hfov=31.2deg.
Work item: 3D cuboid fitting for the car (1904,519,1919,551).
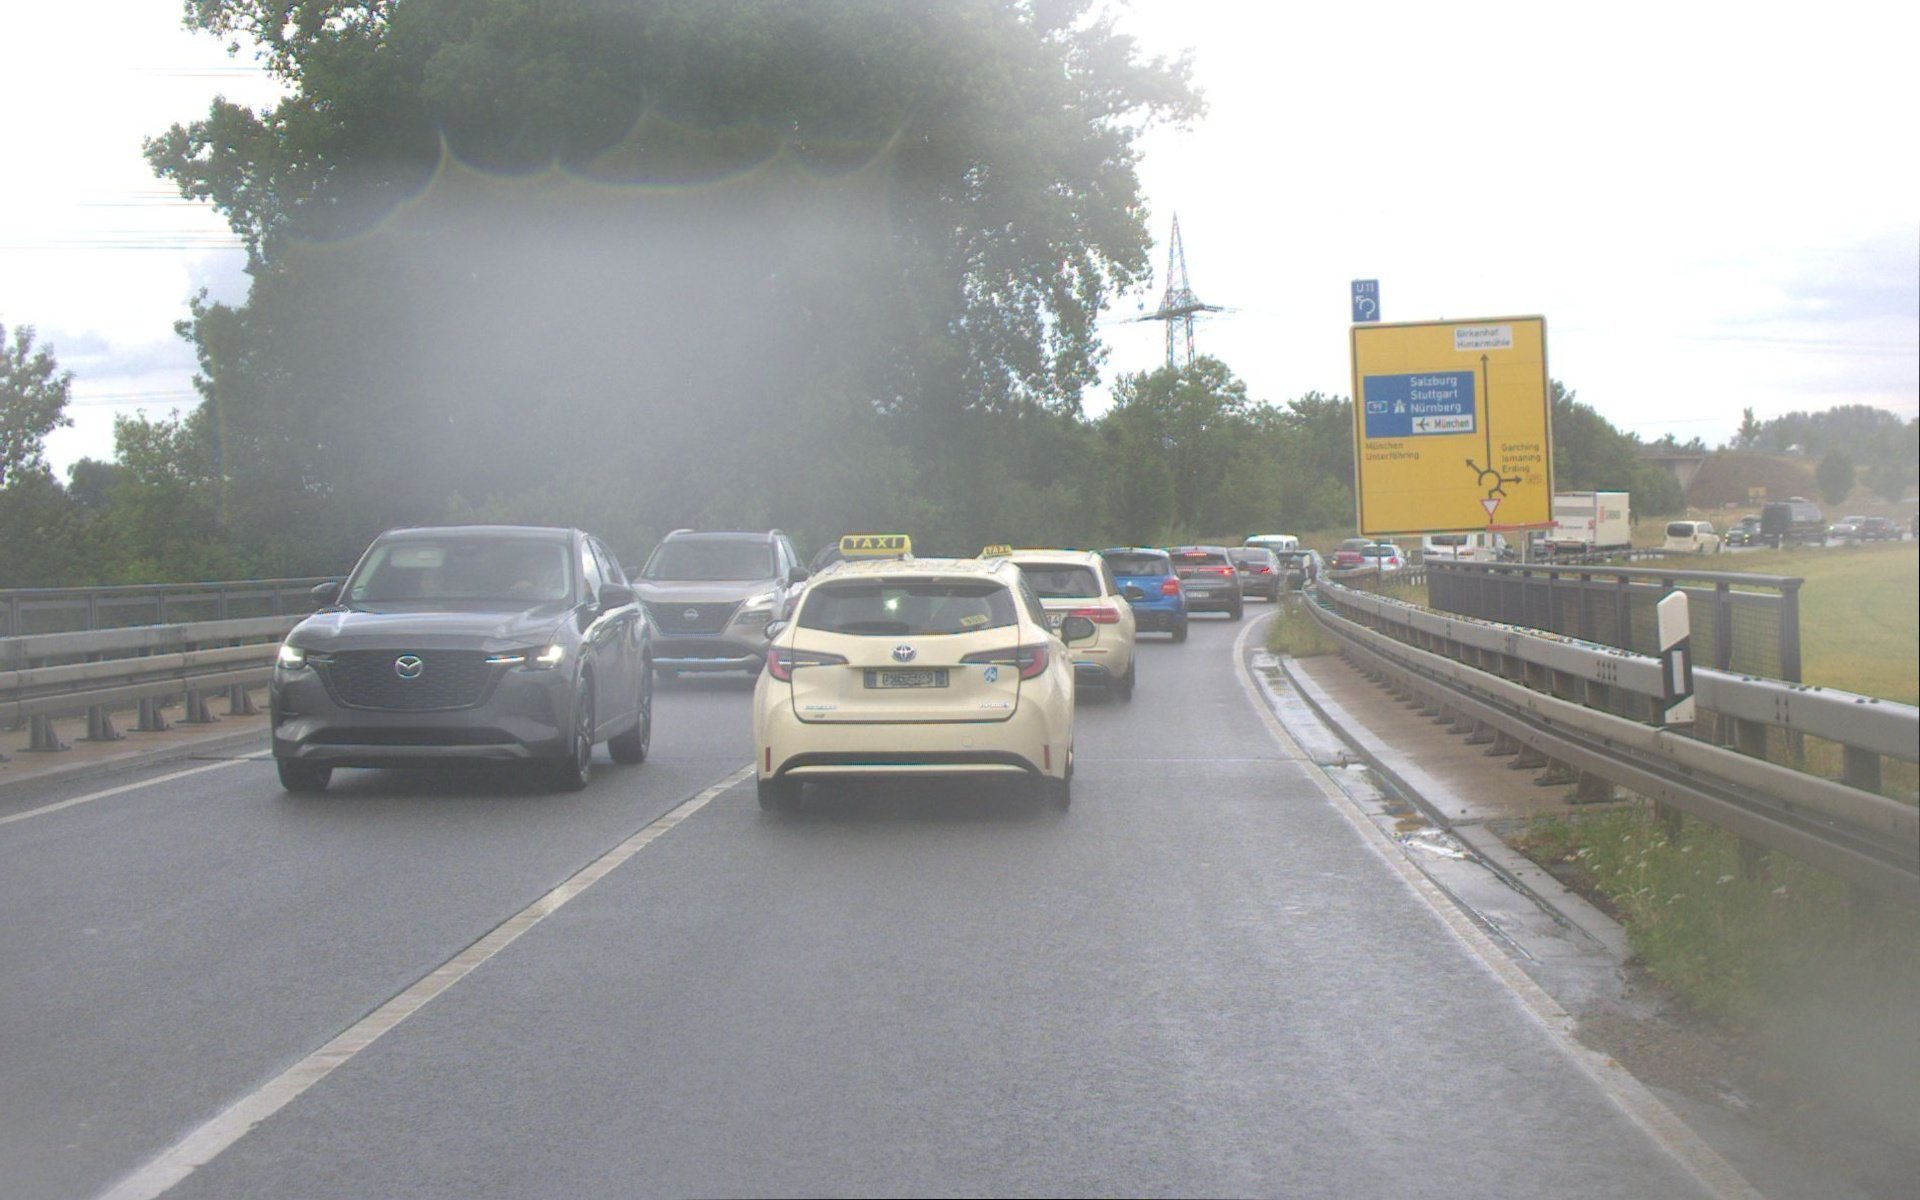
[{"bbox_3d":[63.685,-4.283,226.574,1.997,2.007,3.994,0,0,28],"label":"car"}]

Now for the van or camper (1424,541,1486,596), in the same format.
[{"bbox_3d":[20.507,-1.296,142.314,1.995,2.246,3.997,0,0,16],"label":"van or camper"}]

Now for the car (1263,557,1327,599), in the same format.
[{"bbox_3d":[10.615,-0.709,108.759,1.483,1.304,3.474,0,1,15],"label":"car"}]

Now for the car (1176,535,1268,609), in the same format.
[{"bbox_3d":[5.359,-0.579,70.055,1.665,1.459,3.476,0,1,8],"label":"car"}]

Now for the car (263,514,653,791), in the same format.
[{"bbox_3d":[-3.192,0.259,22.731,1.746,1.648,4.524,0,1,2],"label":"car"}]

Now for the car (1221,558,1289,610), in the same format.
[{"bbox_3d":[8.091,-0.420,94.125,1.661,1.404,3.903,0,0,8],"label":"car"}]

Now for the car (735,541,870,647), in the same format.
[{"bbox_3d":[-2.375,-0.123,52.658,1.899,1.536,4.023,0,1,0],"label":"car"}]

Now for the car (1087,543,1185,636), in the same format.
[{"bbox_3d":[2.817,-0.183,54.890,1.506,1.432,3.355,0,1,3],"label":"car"}]

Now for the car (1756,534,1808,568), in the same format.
[{"bbox_3d":[48.844,-2.903,204.207,1.997,2.007,3.993,0,0,29],"label":"car"}]

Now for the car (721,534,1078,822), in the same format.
[{"bbox_3d":[-0.257,0.392,20.394,1.906,1.532,4.161,0,1,2],"label":"car"}]

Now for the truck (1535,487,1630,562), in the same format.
[{"bbox_3d":[30.674,-3.667,169.292,3.143,3.550,7.513,0,0,22],"label":"truck"}]

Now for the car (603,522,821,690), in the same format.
[{"bbox_3d":[-2.652,0.012,37.716,1.841,1.694,4.389,1,2,3],"label":"car"}]

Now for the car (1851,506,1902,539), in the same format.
[{"bbox_3d":[58.127,-4.882,218.090,2.229,2.007,3.994,0,0,29],"label":"car"}]

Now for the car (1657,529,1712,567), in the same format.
[{"bbox_3d":[39.763,-2.857,188.645,2.169,2.007,3.995,0,0,24],"label":"car"}]

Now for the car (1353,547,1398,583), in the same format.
[{"bbox_3d":[15.224,-1.271,125.941,1.483,1.304,3.475,0,1,10],"label":"car"}]

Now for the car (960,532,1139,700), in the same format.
[{"bbox_3d":[0.931,0.128,34.034,1.578,1.567,3.681,0,1,4],"label":"car"}]
